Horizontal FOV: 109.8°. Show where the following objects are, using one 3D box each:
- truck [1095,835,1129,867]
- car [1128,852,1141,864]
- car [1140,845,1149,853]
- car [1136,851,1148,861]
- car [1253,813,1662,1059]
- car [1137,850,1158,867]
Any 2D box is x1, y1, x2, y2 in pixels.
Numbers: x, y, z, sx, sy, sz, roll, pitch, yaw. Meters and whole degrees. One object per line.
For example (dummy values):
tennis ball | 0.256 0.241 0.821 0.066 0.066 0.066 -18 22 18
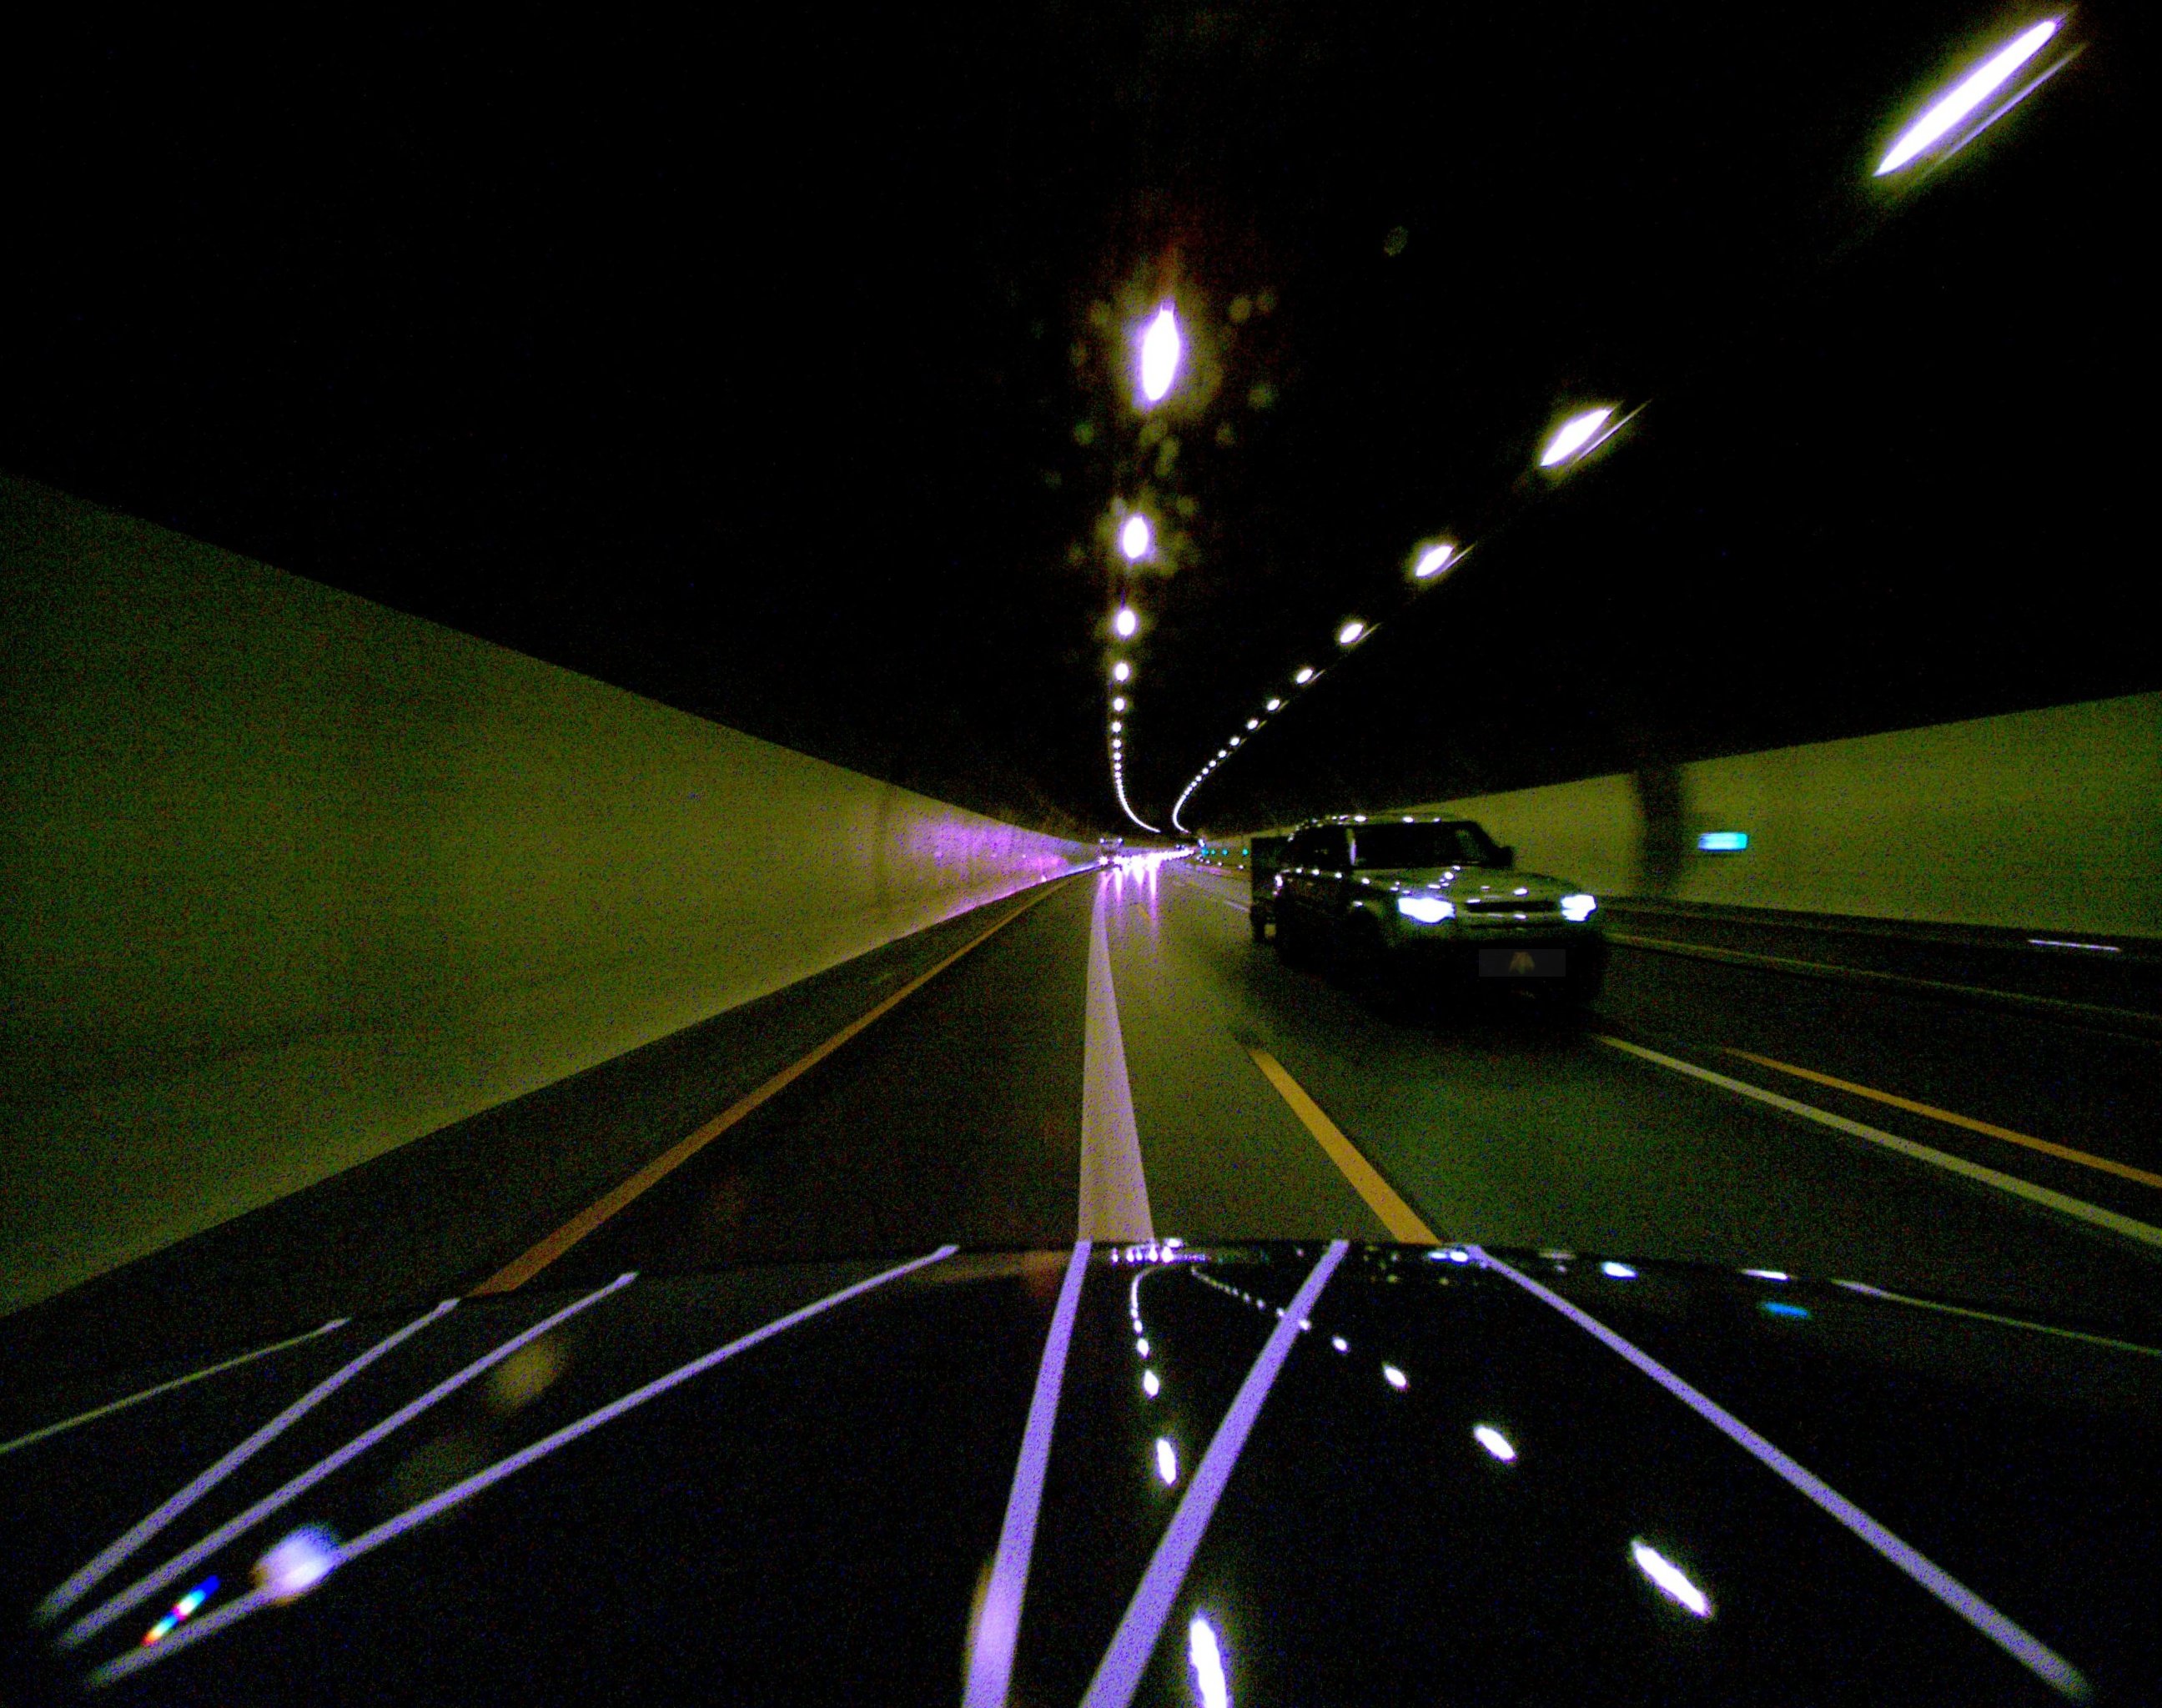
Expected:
truck | 3.420 -0.339 80.541 2.987 3.161 10.512 -1 0 6
car | 9.140 0.657 129.607 1.998 2.002 4.001 -1 0 5
car | 14.850 -1.118 176.499 1.998 1.917 4.386 -1 0 5
car | 12.677 0.317 157.825 1.997 2.002 4.003 -1 0 9
car | 3.507 0.622 8.567 1.998 1.884 5.453 0 0 1
car | 7.288 0.467 82.482 2.171 1.709 4.483 -1 0 5
